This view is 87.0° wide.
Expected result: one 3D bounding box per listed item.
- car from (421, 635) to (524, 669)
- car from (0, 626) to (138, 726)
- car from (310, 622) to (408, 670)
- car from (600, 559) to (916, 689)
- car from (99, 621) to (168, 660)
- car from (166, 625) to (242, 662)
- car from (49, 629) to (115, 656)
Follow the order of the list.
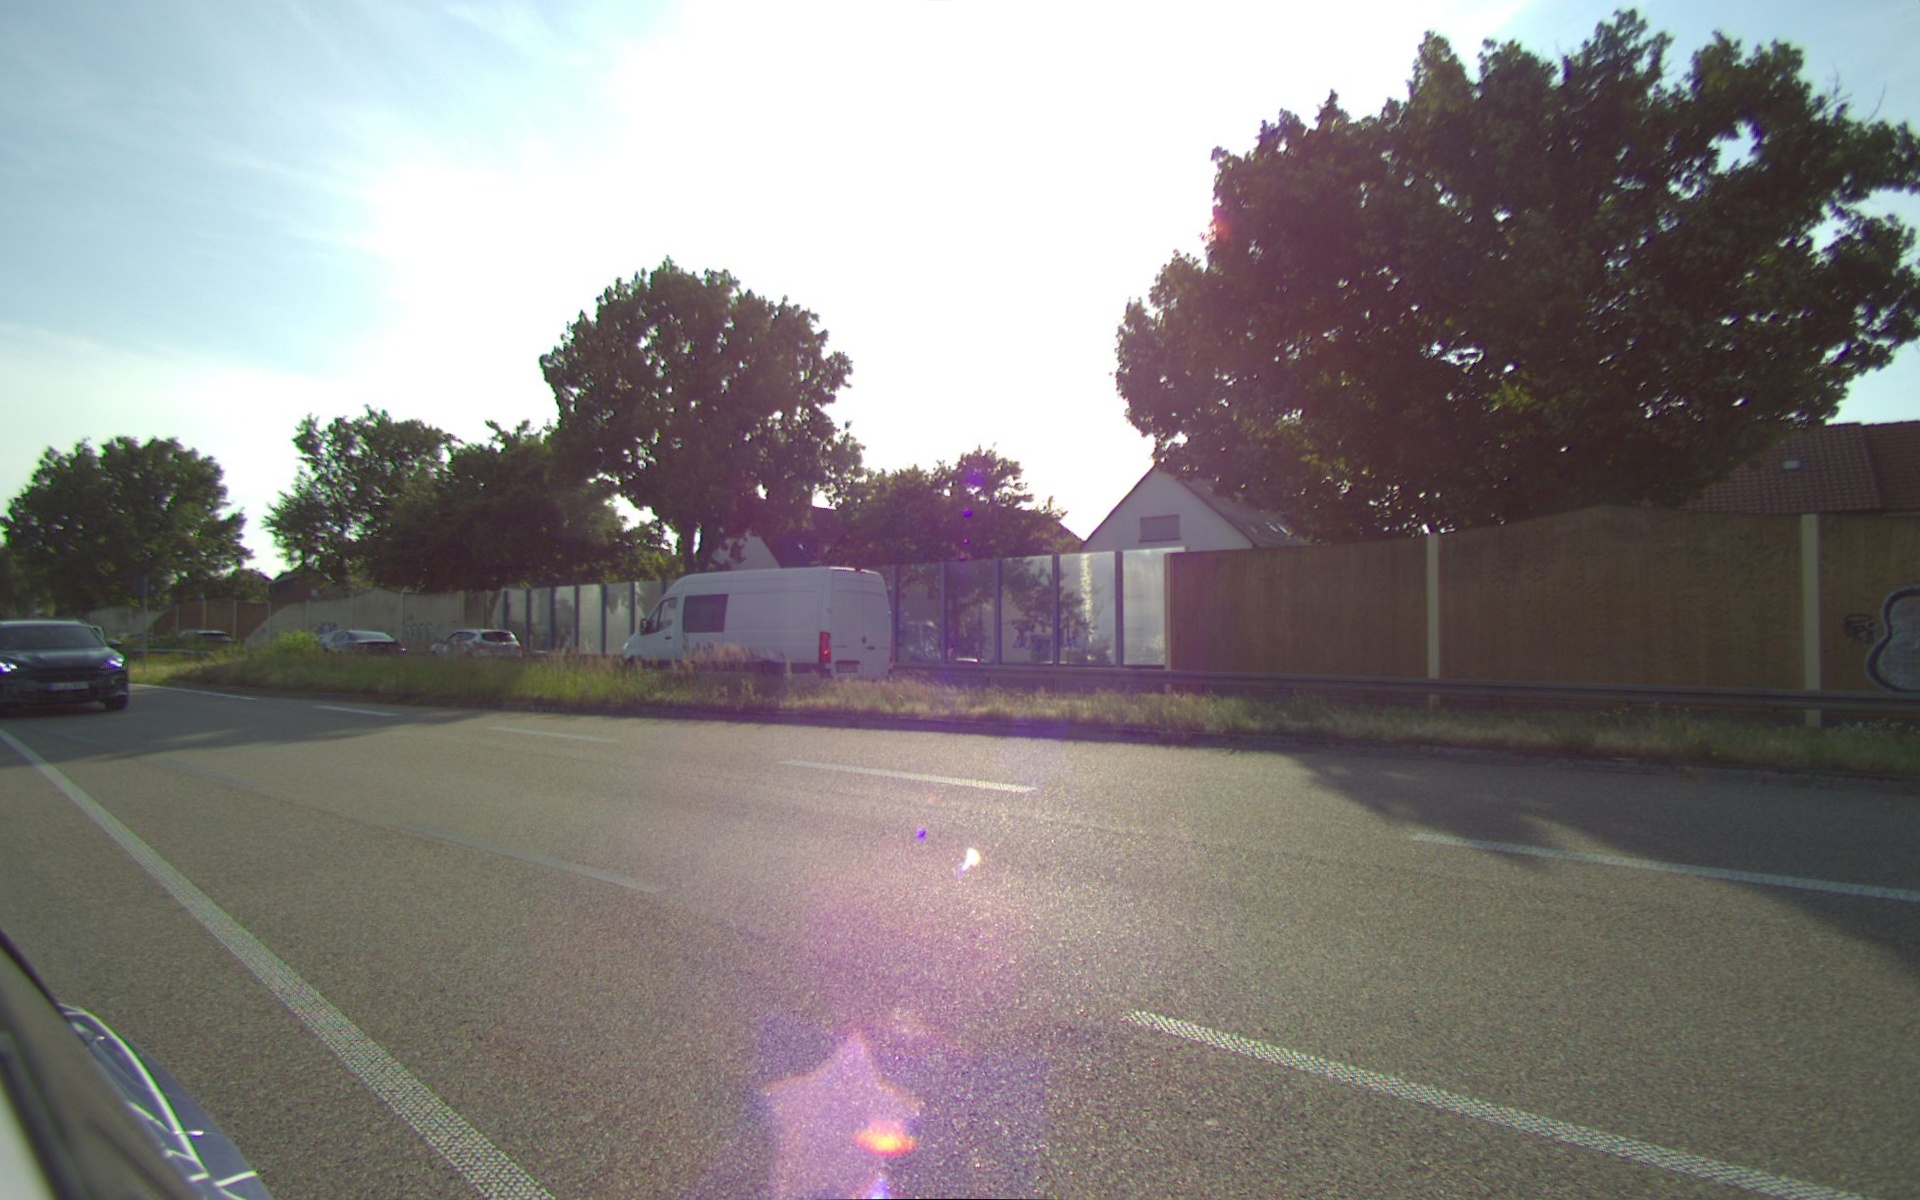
[{"bbox_3d":[-17.681,1.852,36.624,4.407,1.113,1.652,-2,-1,39],"label":"car"},{"bbox_3d":[-16.314,1.276,17.985,4.241,1.537,1.800,-2,-1,39],"label":"car"},{"bbox_3d":[-19.712,1.494,33.167,3.564,1.453,1.632,-2,-1,39],"label":"car"},{"bbox_3d":[-4.430,0.520,21.175,7.179,2.321,2.326,-2,-1,38],"label":"car"},{"bbox_3d":[-41.945,2.053,51.338,4.362,1.846,1.747,-2,-1,38],"label":"car"},{"bbox_3d":[-32.428,1.838,43.367,4.652,1.476,1.500,-2,-1,38],"label":"car"},{"bbox_3d":[-51.439,2.495,59.256,5.052,1.495,1.963,-2,-1,37],"label":"car"}]
